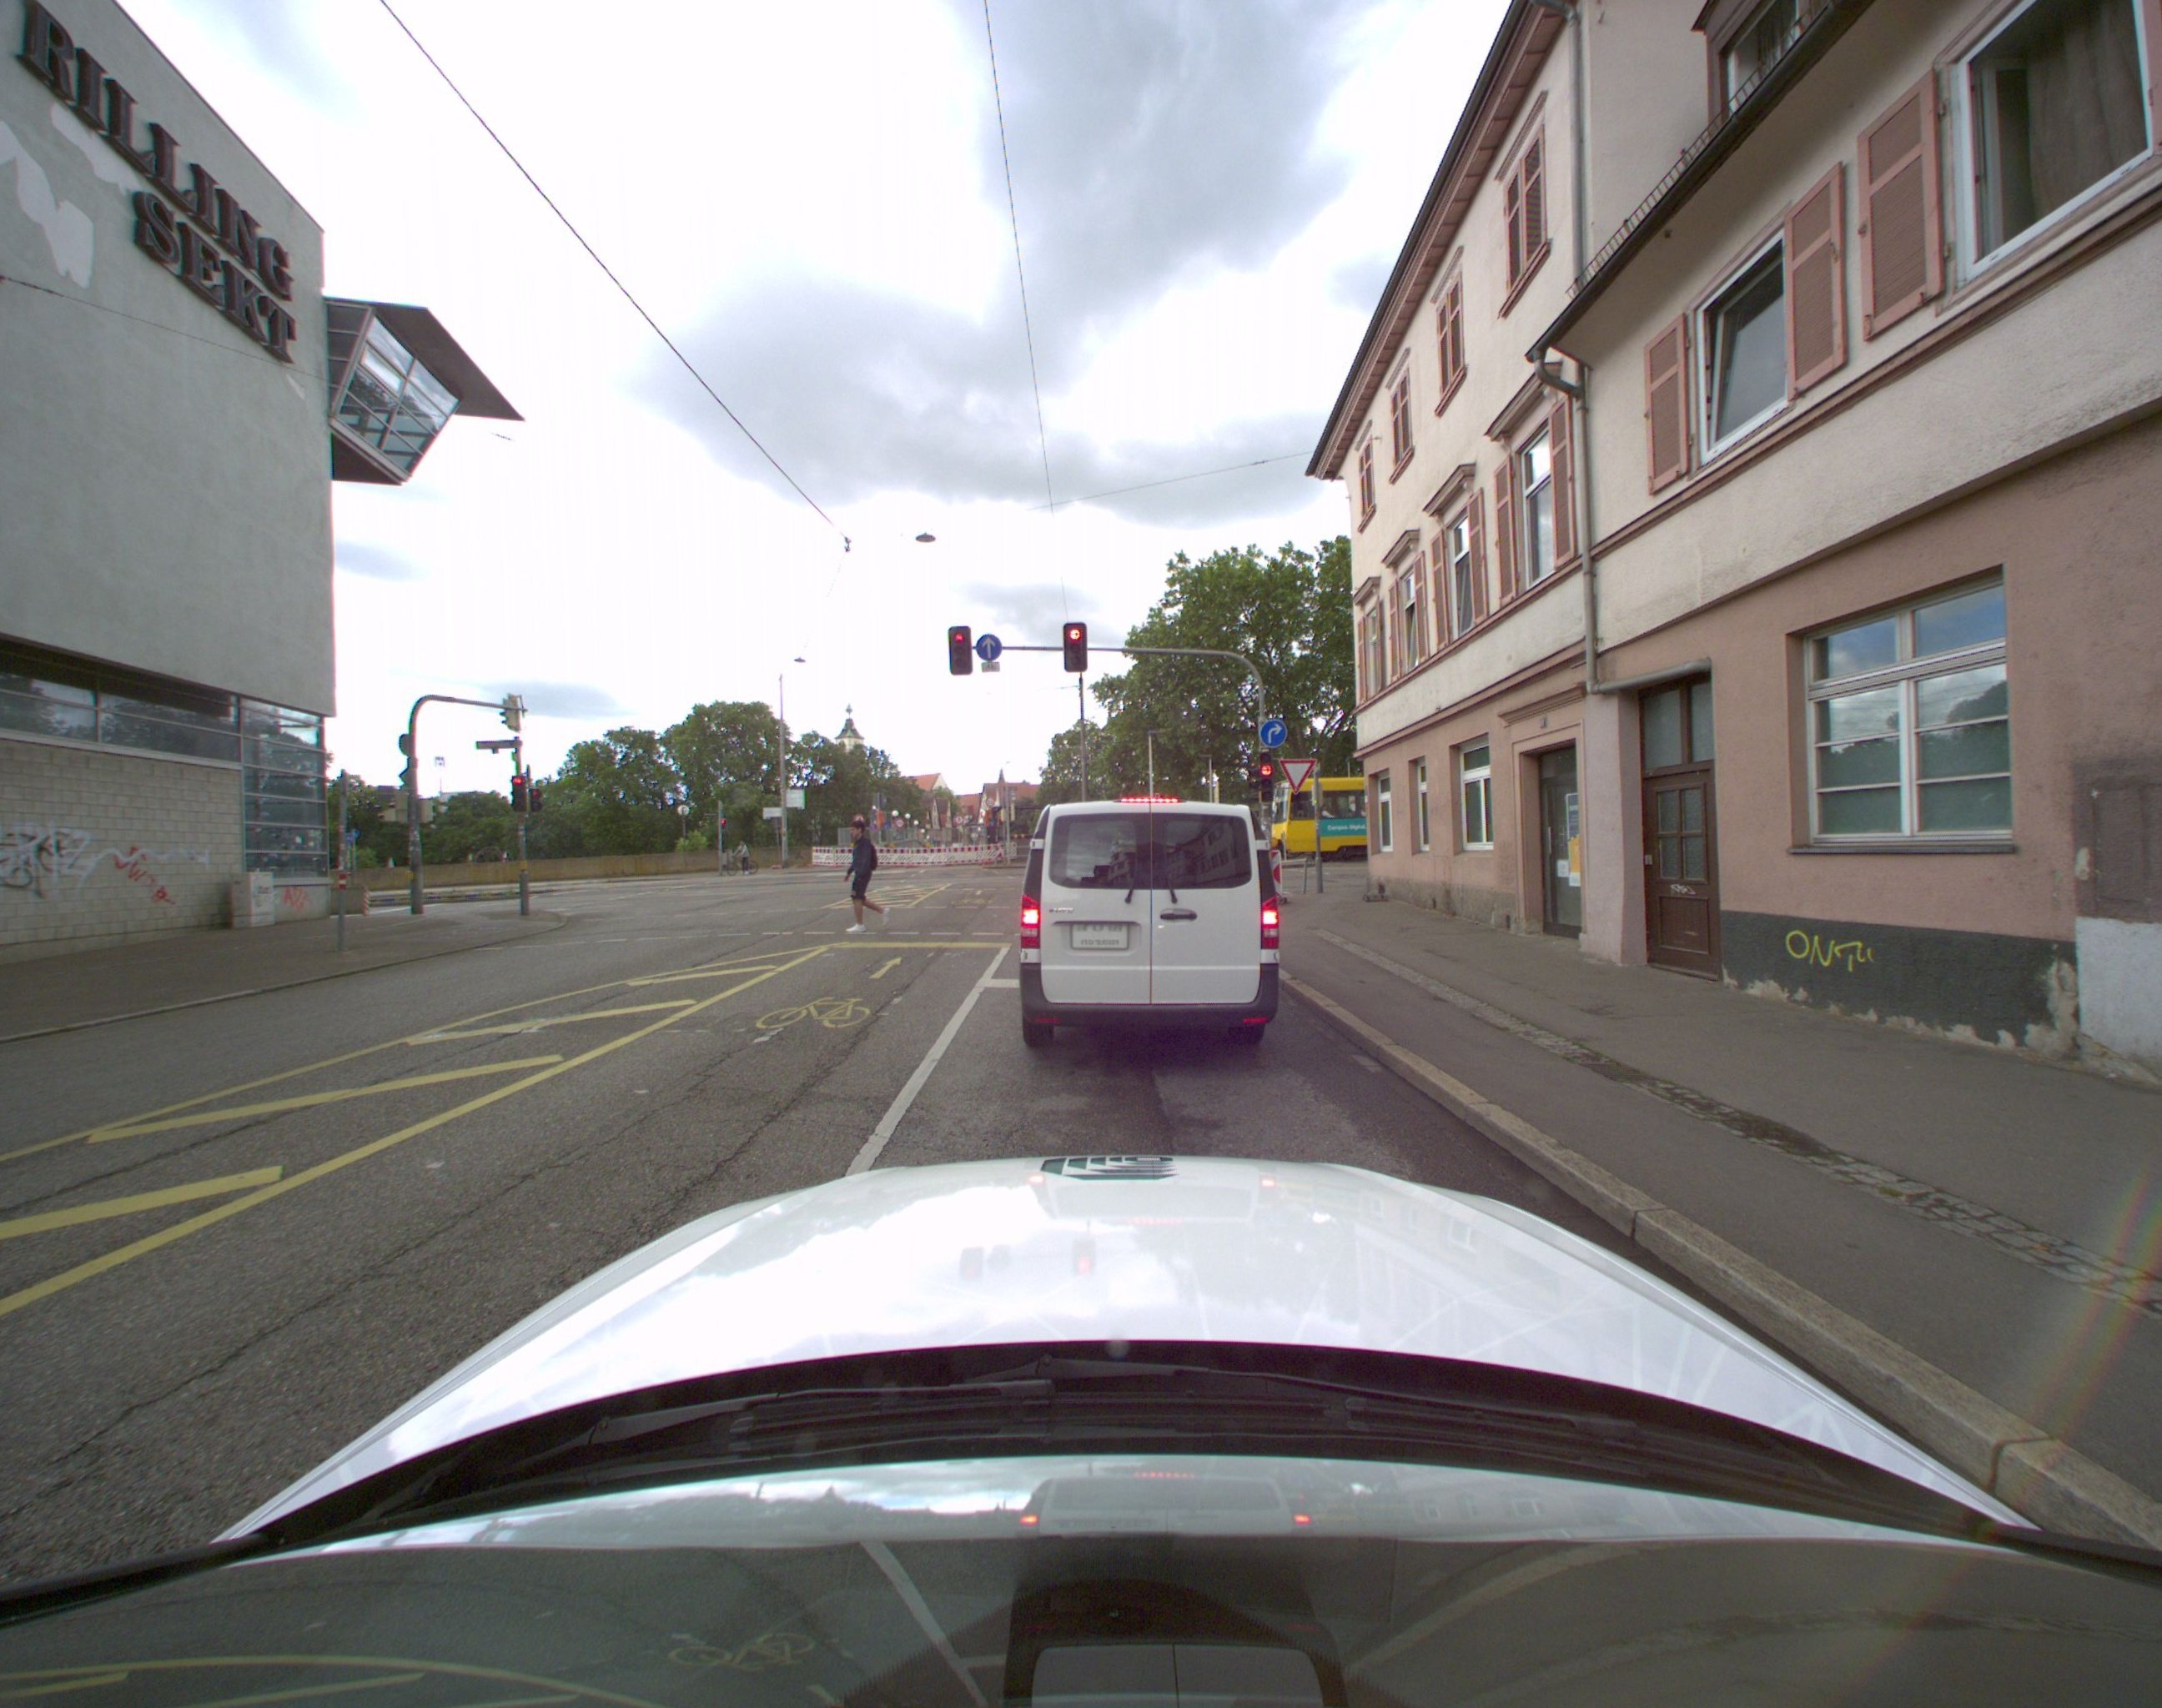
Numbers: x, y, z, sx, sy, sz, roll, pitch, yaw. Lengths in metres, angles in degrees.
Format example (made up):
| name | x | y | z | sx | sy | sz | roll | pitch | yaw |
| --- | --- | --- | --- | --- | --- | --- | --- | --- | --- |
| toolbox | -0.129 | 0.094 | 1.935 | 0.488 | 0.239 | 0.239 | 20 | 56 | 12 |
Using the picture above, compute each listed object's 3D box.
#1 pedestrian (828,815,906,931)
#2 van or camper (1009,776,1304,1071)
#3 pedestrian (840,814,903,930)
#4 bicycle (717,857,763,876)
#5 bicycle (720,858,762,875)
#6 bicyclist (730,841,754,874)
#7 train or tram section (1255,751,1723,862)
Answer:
| name | x | y | z | sx | sy | sz | roll | pitch | yaw |
| --- | --- | --- | --- | --- | --- | --- | --- | --- | --- |
| pedestrian | -3.634 | 0.302 | 13.798 | 1.153 | 1.856 | 0.675 | -3 | 1 | -19 |
| van or camper | 0.487 | 0.428 | 7.579 | 1.932 | 1.924 | 4.440 | 0 | 1 | -1 |
| pedestrian | -3.555 | 0.292 | 13.805 | 1.006 | 1.914 | 0.622 | 0 | 0 | -16 |
| bicycle | -18.228 | 0.640 | 43.522 | 2.148 | 0.892 | 0.752 | -2 | 2 | -38 |
| bicycle | -18.164 | 0.669 | 43.543 | 1.962 | 0.866 | 0.553 | -2 | 0 | -42 |
| bicyclist | -18.150 | 0.194 | 43.589 | 1.009 | 1.743 | 0.746 | -2 | 1 | -37 |
| train or tram section | 17.401 | -2.062 | 35.220 | 19.188 | 4.002 | 3.305 | -2 | 2 | -4 |
